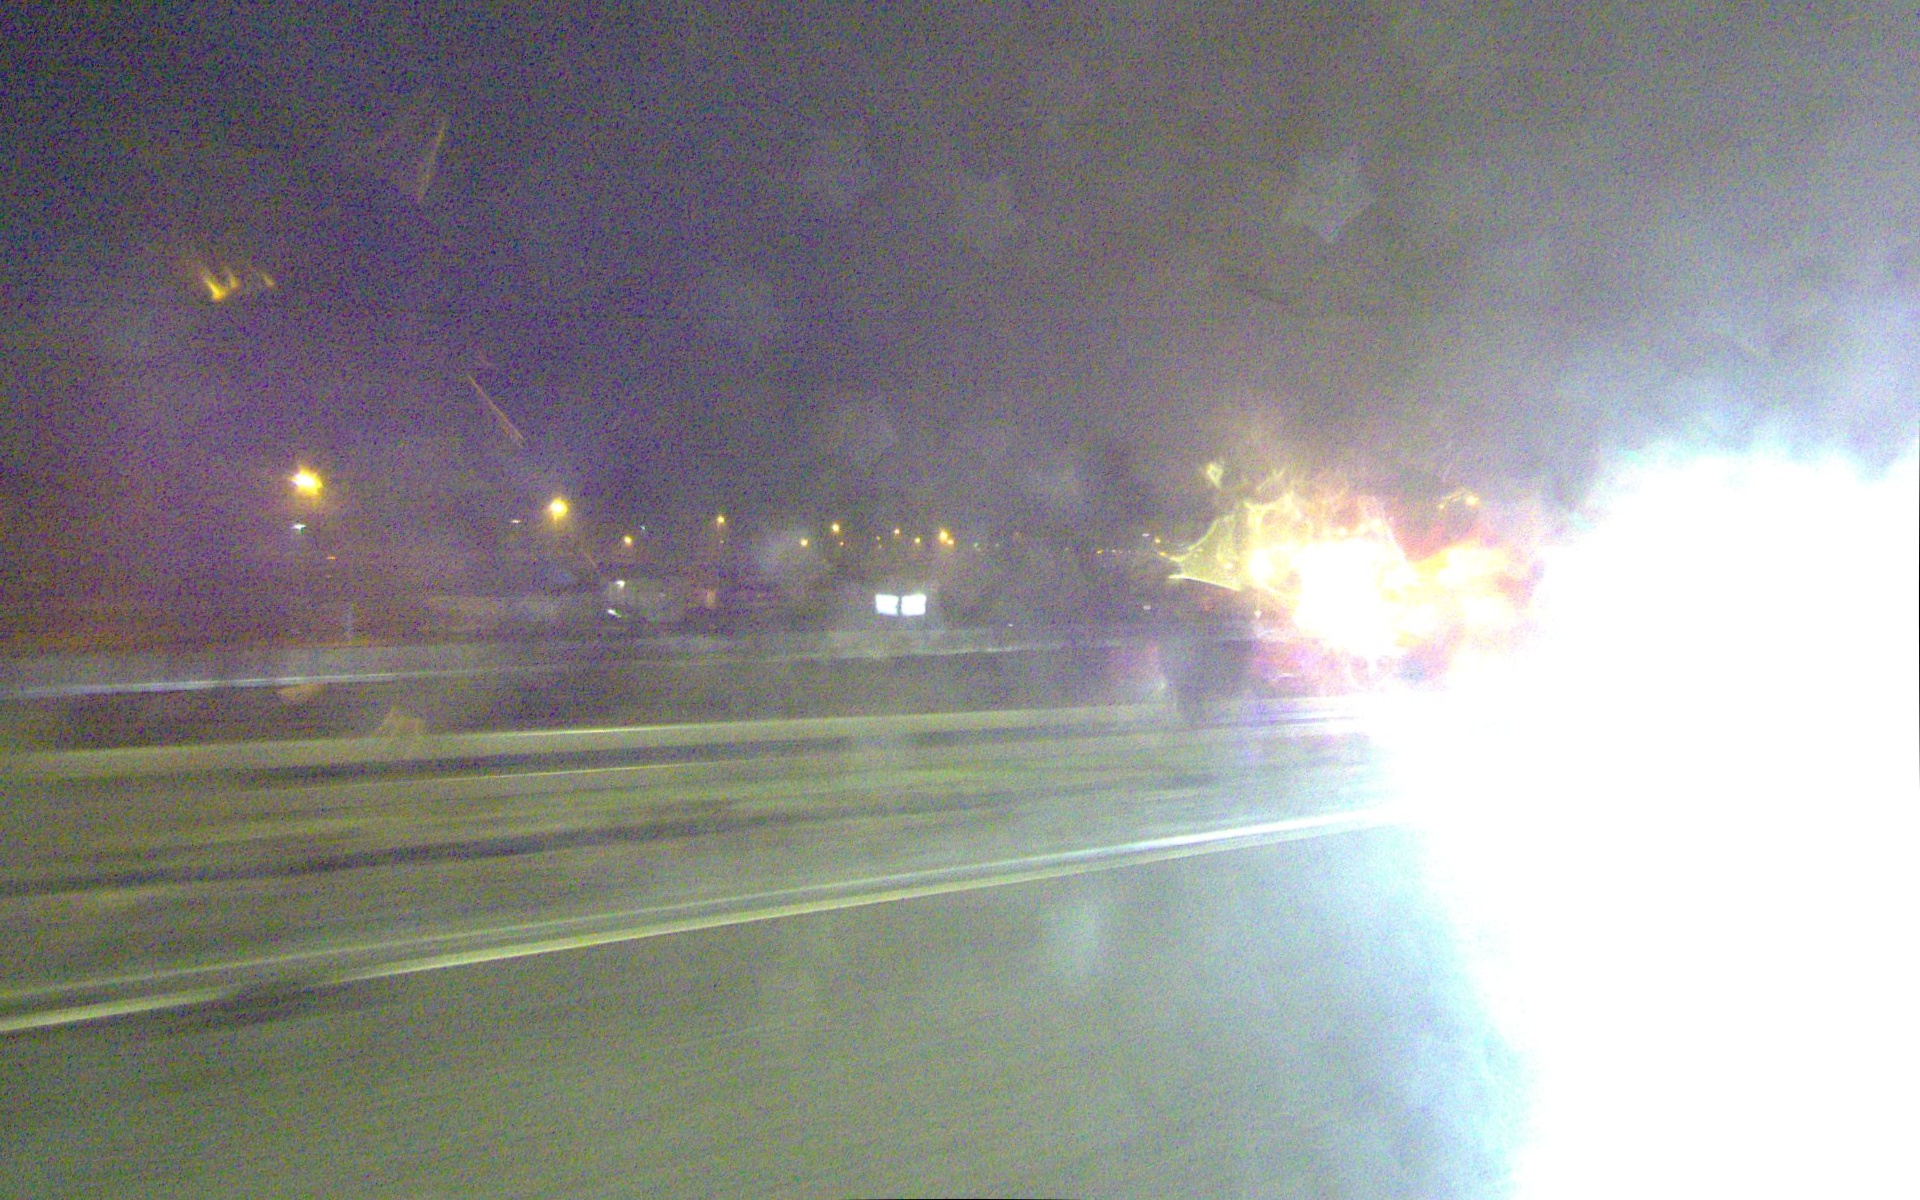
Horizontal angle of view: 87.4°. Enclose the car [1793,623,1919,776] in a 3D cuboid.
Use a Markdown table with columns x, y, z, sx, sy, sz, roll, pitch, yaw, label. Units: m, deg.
| x | y | z | sx | sy | sz | roll | pitch | yaw | label |
| --- | --- | --- | --- | --- | --- | --- | --- | --- | --- |
| 10.789 | 1.019 | 10.692 | 4.544 | 1.410 | 1.781 | 3 | -2 | -34 | car |
